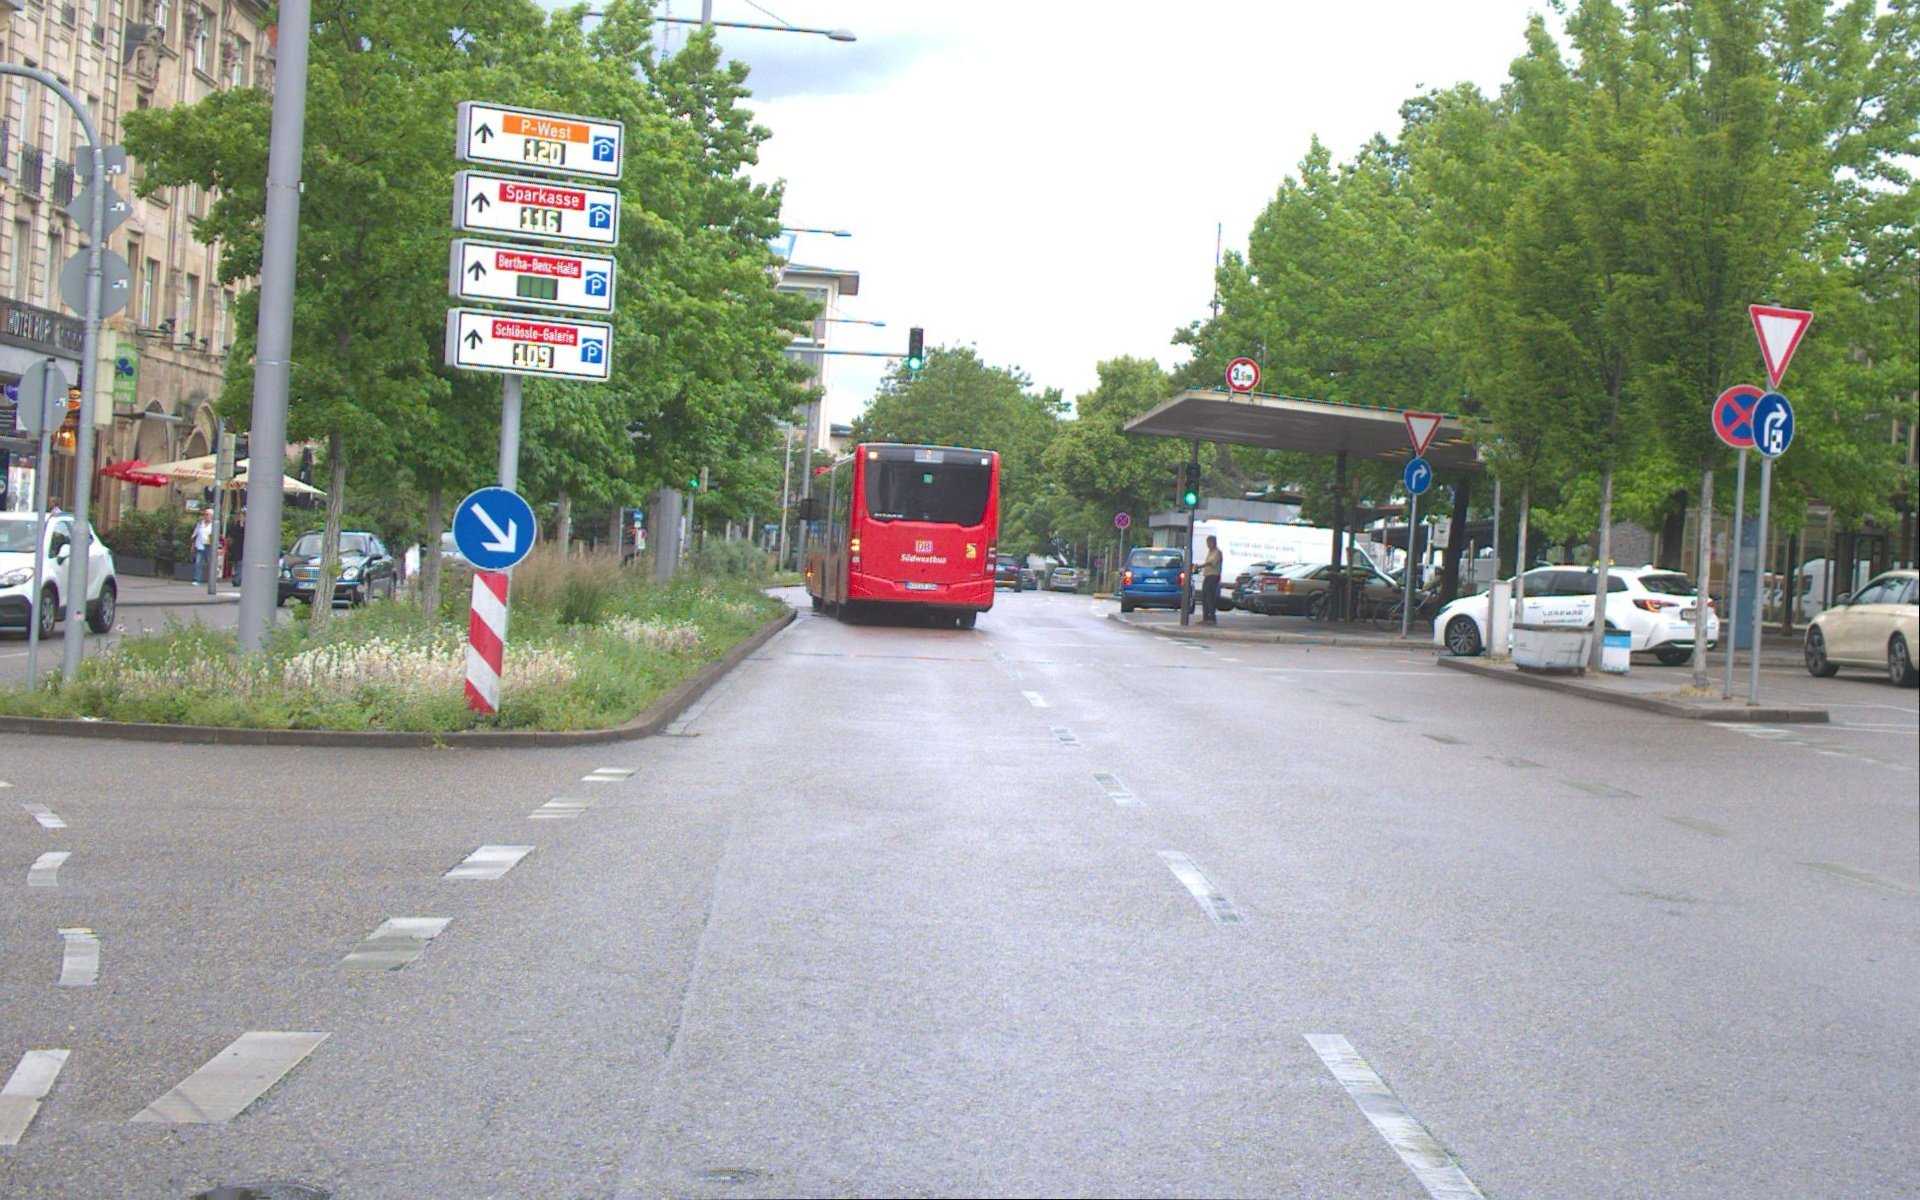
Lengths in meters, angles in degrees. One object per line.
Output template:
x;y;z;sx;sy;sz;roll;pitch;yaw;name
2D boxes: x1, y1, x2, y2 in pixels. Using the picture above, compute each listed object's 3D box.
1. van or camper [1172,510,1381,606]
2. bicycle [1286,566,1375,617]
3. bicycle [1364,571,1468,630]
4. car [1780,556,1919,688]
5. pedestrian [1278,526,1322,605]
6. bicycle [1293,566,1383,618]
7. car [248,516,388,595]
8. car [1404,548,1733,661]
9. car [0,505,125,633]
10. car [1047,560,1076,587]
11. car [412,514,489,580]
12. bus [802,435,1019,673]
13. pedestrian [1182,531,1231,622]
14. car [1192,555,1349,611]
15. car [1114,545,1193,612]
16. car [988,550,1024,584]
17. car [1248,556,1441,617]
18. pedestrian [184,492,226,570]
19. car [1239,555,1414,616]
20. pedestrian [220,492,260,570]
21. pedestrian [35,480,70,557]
9.479;-1.248;102.791;5.945;2.753;2.199;1;1;-27;van or camper
7.754;-0.172;71.988;1.827;1.052;0.420;1;0;-18;bicycle
8.358;0.003;63.007;1.827;1.052;0.420;1;0;-1;bicycle
12.576;0.257;44.713;1.993;1.594;4.960;1;1;-8;car
8.031;-0.813;81.152;0.856;1.829;1.190;1;0;-1;pedestrian
7.871;-0.166;71.541;1.827;1.052;0.420;1;0;-18;bicycle
-12.035;-0.825;64.643;1.955;1.418;4.000;1;1;-1;car
9.019;0.051;51.303;1.758;1.540;4.775;2;0;-40;car
-12.515;-0.424;45.422;1.955;1.612;4.208;1;1;-1;car
6.377;-1.643;216.260;1.644;1.655;3.650;1;1;0;car
-12.160;-1.263;82.242;1.676;1.507;3.864;1;1;-6;car
-1.092;-0.831;63.539;3.544;3.966;11.173;1;1;-3;bus
4.791;-0.462;66.884;0.746;1.741;0.836;2;0;-9;pedestrian
8.745;-0.477;96.743;3.986;1.438;1.865;2;0;-27;car
4.805;-0.519;85.435;1.859;1.564;3.999;2;0;3;car
2.159;-1.533;161.666;1.595;1.555;3.650;1;1;0;car
9.202;-0.324;82.332;4.184;1.321;1.841;2;0;-20;car
-16.219;-1.484;73.841;0.681;1.658;0.807;1;0;3;pedestrian
9.184;-0.364;85.998;3.986;1.354;1.865;2;0;-31;car
-15.472;-1.484;73.878;0.681;1.658;0.807;1;0;0;pedestrian
-19.721;-1.773;74.713;0.666;1.658;0.537;1;0;-9;pedestrian
